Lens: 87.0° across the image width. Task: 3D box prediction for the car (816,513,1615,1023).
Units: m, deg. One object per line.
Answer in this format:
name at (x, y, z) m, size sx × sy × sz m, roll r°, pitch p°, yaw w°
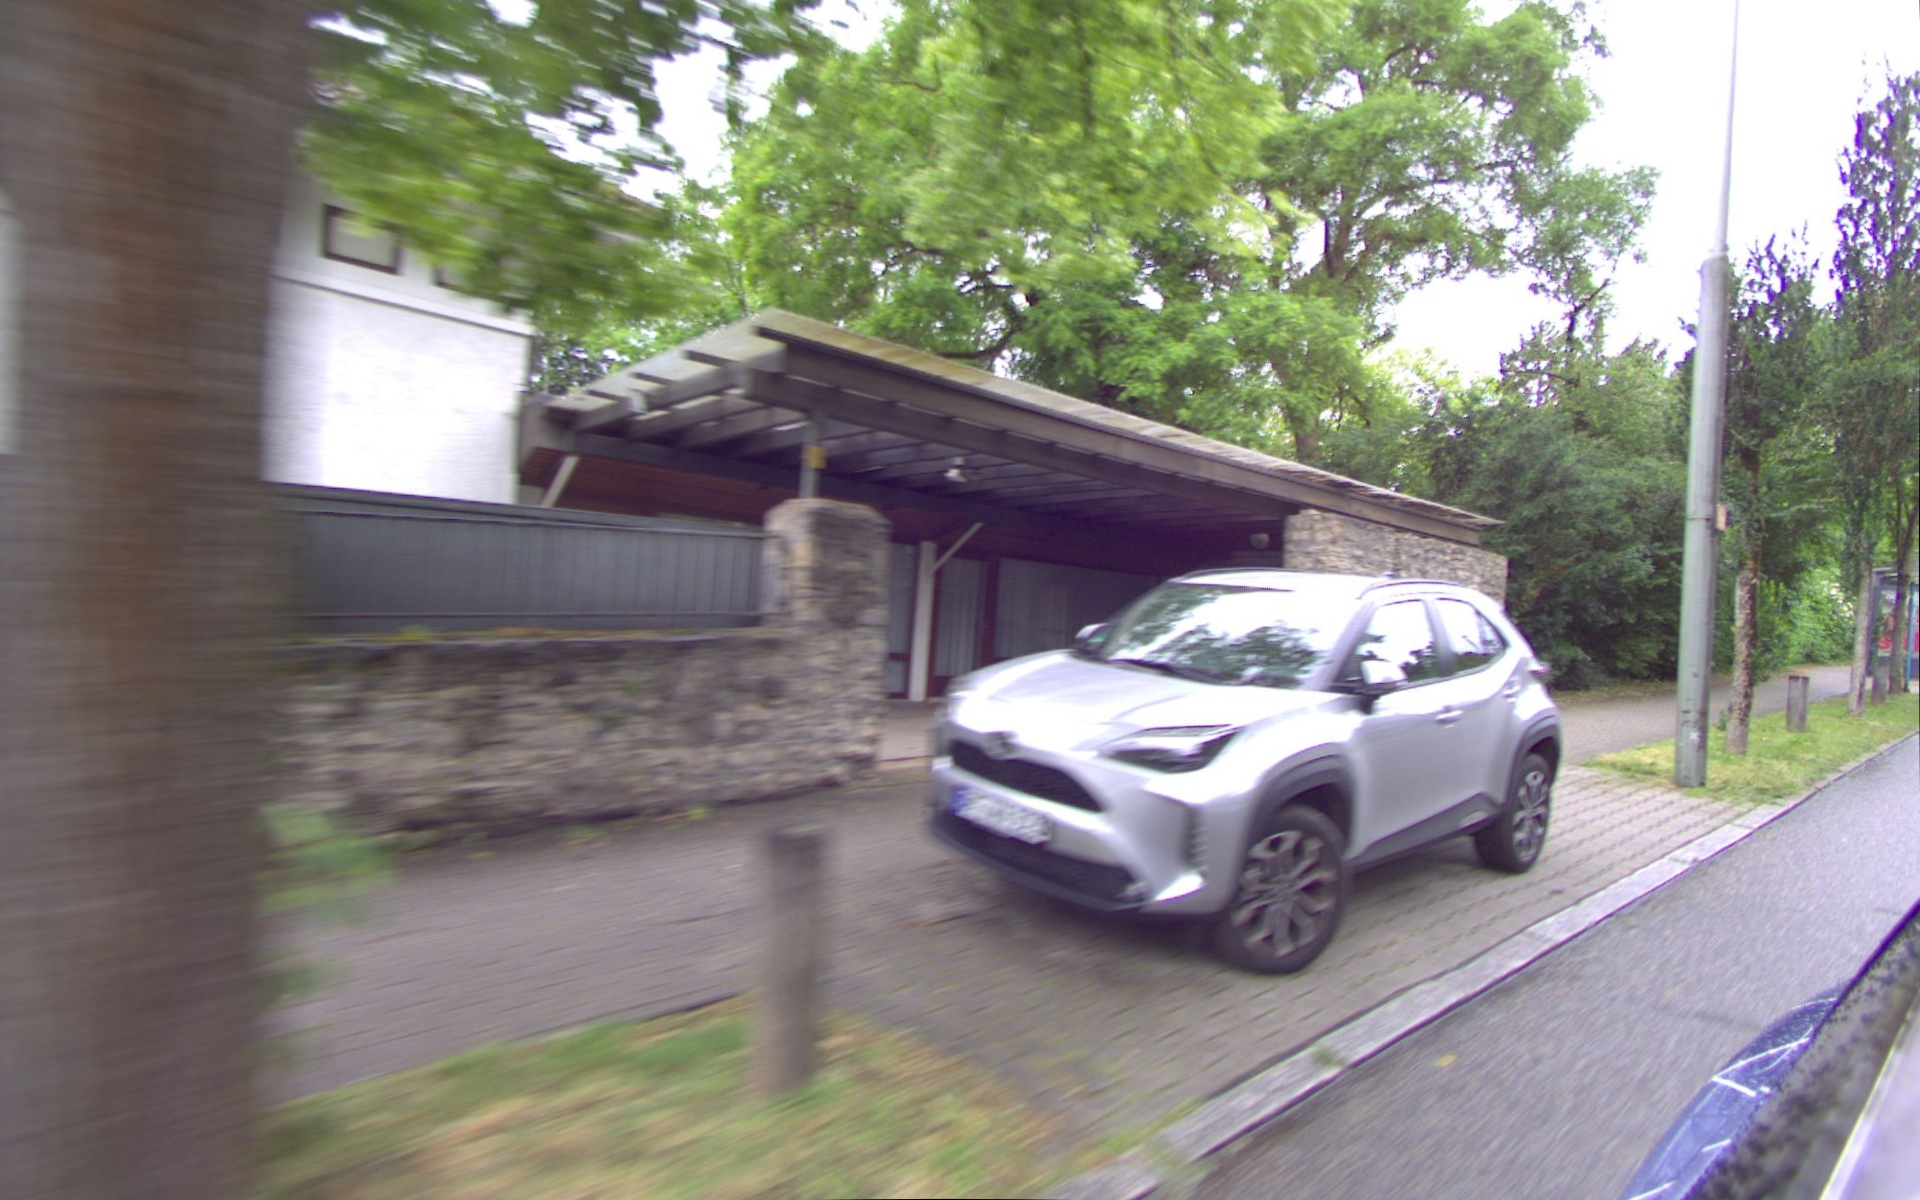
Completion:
car at (1.574, 0.557, 5.282) m, size 4.145 × 1.586 × 1.923 m, roll 3°, pitch 2°, yaw -41°
